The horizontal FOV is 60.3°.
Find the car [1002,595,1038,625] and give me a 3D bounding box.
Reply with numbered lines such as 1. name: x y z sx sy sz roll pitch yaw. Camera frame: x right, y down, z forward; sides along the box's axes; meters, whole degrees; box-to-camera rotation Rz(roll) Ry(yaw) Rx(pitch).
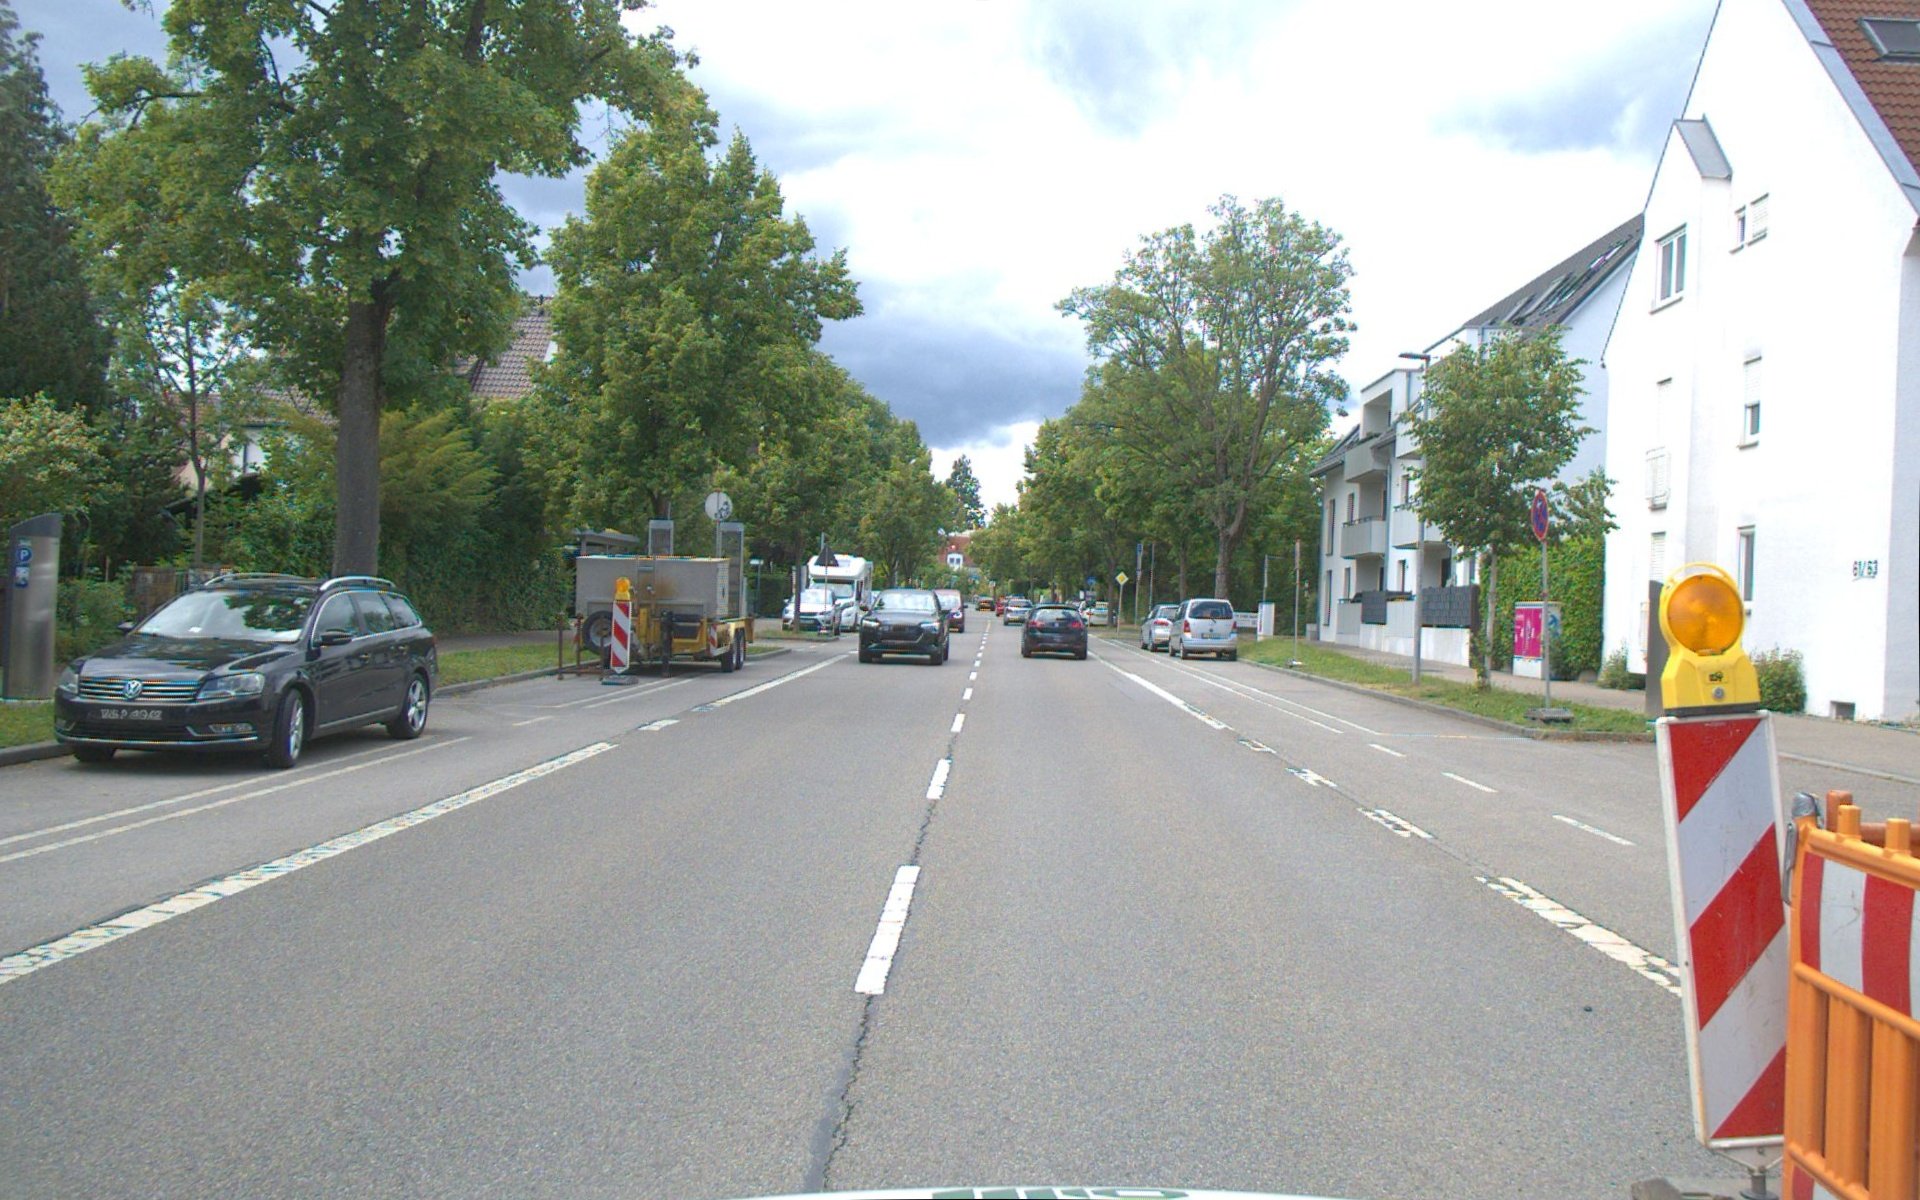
1. car: 3.369 0.571 93.623 1.952 1.585 4.001 2 0 2

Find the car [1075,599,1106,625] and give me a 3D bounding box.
1. car: 7.810 0.680 99.235 1.582 1.485 3.658 1 0 1

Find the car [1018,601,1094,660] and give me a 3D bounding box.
1. car: 2.564 0.791 44.742 1.747 1.474 3.557 2 0 -1

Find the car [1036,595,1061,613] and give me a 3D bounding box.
1. car: 7.797 0.338 146.156 1.650 1.457 4.041 2 0 -4

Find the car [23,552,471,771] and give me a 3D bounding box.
1. car: -6.048 0.528 14.762 1.822 1.580 4.620 2 -2 1

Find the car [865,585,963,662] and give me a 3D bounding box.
1. car: -1.016 0.513 38.716 1.952 1.697 4.591 0 0 3

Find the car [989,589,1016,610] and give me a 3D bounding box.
1. car: 3.354 -0.011 129.939 1.953 1.557 3.999 2 0 -1

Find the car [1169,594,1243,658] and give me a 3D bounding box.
1. car: 6.987 0.709 47.257 1.599 1.694 3.648 2 0 1

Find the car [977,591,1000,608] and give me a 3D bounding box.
1. car: 2.823 -0.022 163.393 1.954 1.534 3.997 3 -1 -4

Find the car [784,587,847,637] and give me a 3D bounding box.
1. car: -5.052 0.400 58.320 1.687 1.628 4.273 2 0 2

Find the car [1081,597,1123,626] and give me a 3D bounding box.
1. car: 7.761 0.611 90.826 1.979 1.468 5.026 2 0 2

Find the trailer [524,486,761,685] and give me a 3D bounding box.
1. trailer: -5.411 -0.192 29.605 2.619 2.992 7.475 2 -1 0

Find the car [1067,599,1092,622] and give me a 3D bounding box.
1. car: 8.016 0.685 111.132 1.604 1.445 4.001 1 0 3

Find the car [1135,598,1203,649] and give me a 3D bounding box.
1. car: 6.665 0.725 53.042 1.652 1.519 4.227 1 0 1

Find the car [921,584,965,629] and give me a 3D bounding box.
1. car: -0.709 0.277 71.773 1.724 1.834 4.769 2 0 1

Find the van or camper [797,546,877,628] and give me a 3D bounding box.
1. van or camper: -4.909 -0.509 67.172 2.385 3.062 7.694 2 0 1
